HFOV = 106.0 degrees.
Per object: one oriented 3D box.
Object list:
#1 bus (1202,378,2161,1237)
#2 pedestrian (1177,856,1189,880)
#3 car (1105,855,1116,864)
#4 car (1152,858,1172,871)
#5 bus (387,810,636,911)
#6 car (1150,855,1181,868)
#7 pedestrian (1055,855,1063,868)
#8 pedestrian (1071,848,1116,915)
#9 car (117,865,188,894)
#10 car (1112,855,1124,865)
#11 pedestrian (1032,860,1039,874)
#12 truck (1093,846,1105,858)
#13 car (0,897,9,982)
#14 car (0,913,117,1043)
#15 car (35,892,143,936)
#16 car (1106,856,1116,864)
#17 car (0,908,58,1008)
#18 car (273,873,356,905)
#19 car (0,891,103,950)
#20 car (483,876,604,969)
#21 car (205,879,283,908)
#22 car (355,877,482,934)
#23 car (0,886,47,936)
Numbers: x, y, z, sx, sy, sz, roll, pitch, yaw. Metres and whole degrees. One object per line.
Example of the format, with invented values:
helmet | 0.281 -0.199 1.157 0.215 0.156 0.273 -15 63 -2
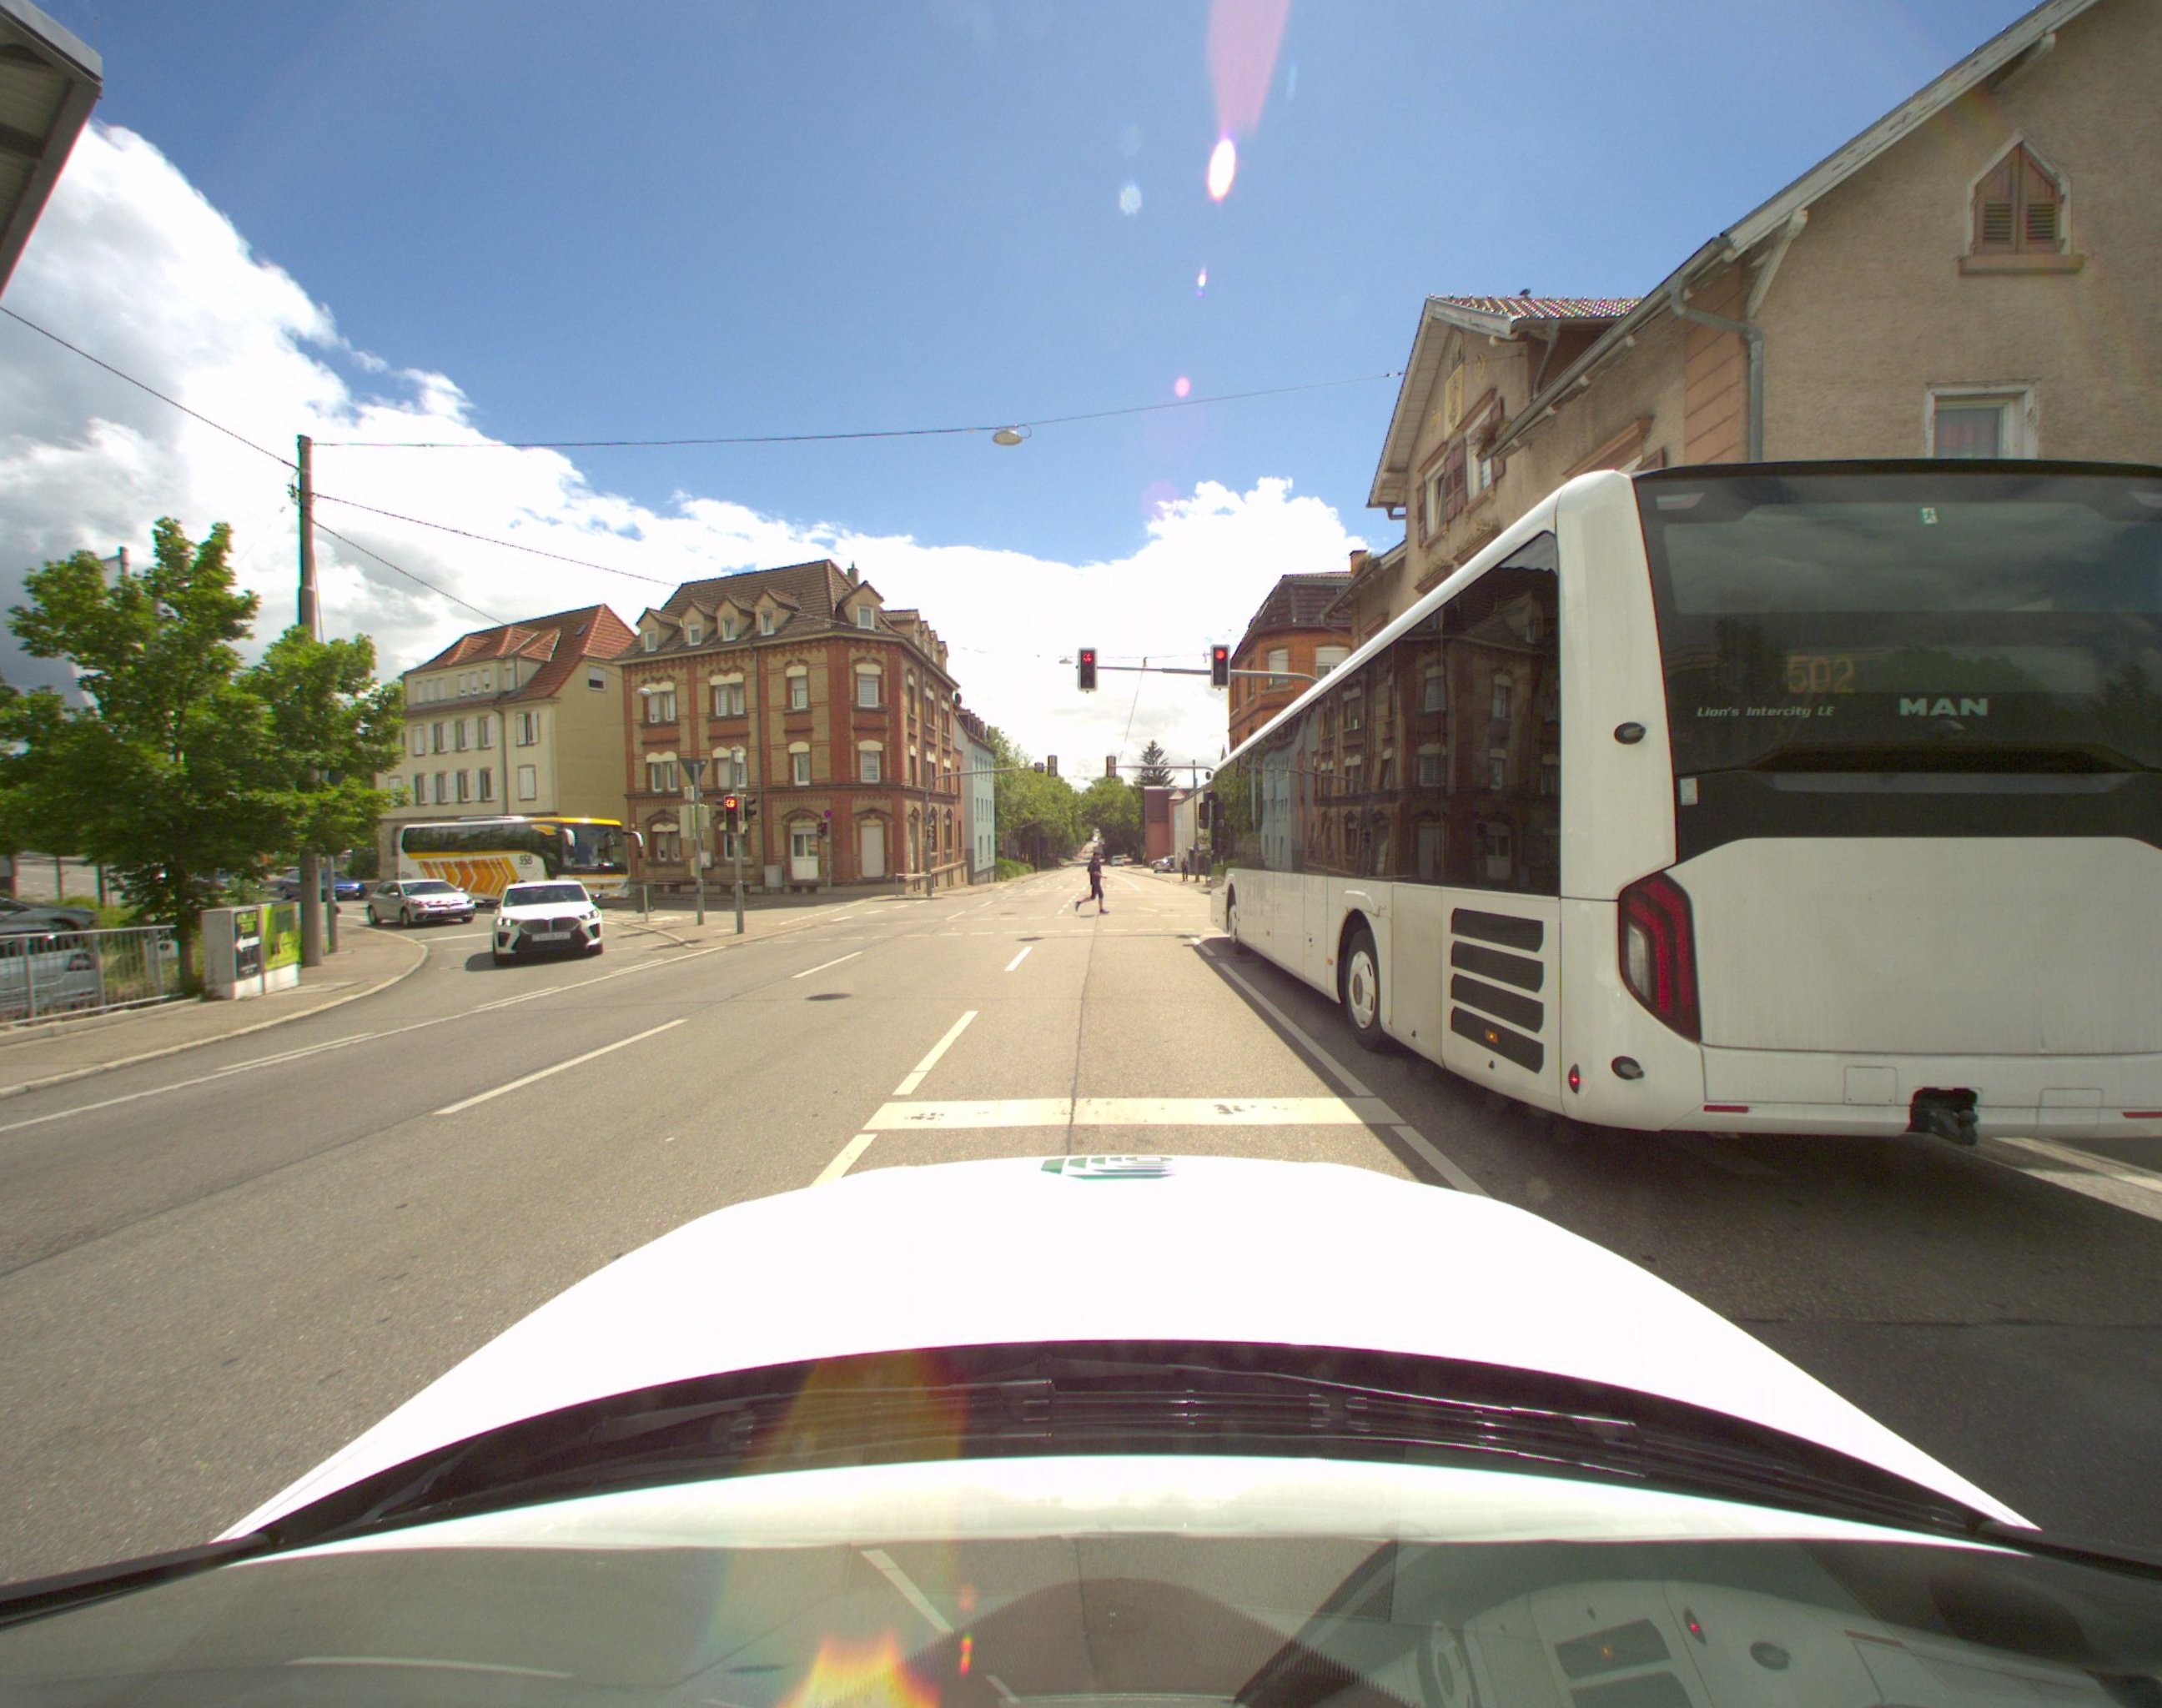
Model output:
bus | 3.466 -0.162 9.272 2.662 3.155 12.467 -2 0 2
pedestrian | 7.570 1.011 60.412 0.736 1.750 0.619 -2 0 1
car | 5.291 0.988 145.920 1.787 1.409 4.421 -1 0 3
car | 9.230 1.175 93.023 1.788 1.409 4.000 -2 0 1
bus | -23.433 0.336 33.174 12.110 3.621 2.788 -1 0 26
car | 11.777 1.044 113.078 3.978 1.757 1.998 -2 0 -3
pedestrian | -3.458 1.238 127.754 0.991 2.013 1.189 -2 0 1
pedestrian | 0.325 0.719 21.764 1.138 1.734 0.758 -2 0 -3
car | -53.709 1.488 47.087 3.949 1.554 1.923 -2 0 29
car | 5.843 0.949 129.473 1.787 1.409 4.002 -1 0 2
pedestrian | -5.338 1.536 95.800 0.727 1.565 0.561 -1 -1 0
truck | 4.932 -0.626 227.317 2.917 3.081 7.883 -2 0 0
car | -23.476 1.764 16.477 3.455 1.680 1.663 -1 2 30
car | -15.977 1.786 12.071 3.321 1.560 1.692 0 2 32
car | -37.293 2.228 30.612 3.456 1.448 1.811 -2 0 26
car | 5.748 1.125 154.019 1.787 1.409 4.421 -1 0 3
car | -19.611 1.825 14.198 3.455 1.526 1.626 -1 2 29
car | -37.139 1.692 39.461 3.949 1.409 1.762 -2 0 28
car | -29.534 1.830 22.145 1.777 1.477 3.522 -2 0 32
car | -11.294 1.324 17.262 1.840 1.551 4.262 -4 1 -32
car | -45.394 2.134 44.155 3.949 1.409 1.923 -2 0 29
car | -21.092 1.583 25.909 3.574 1.417 1.897 1 4 30
car | -36.138 1.883 25.685 1.785 1.554 4.023 -2 0 25
